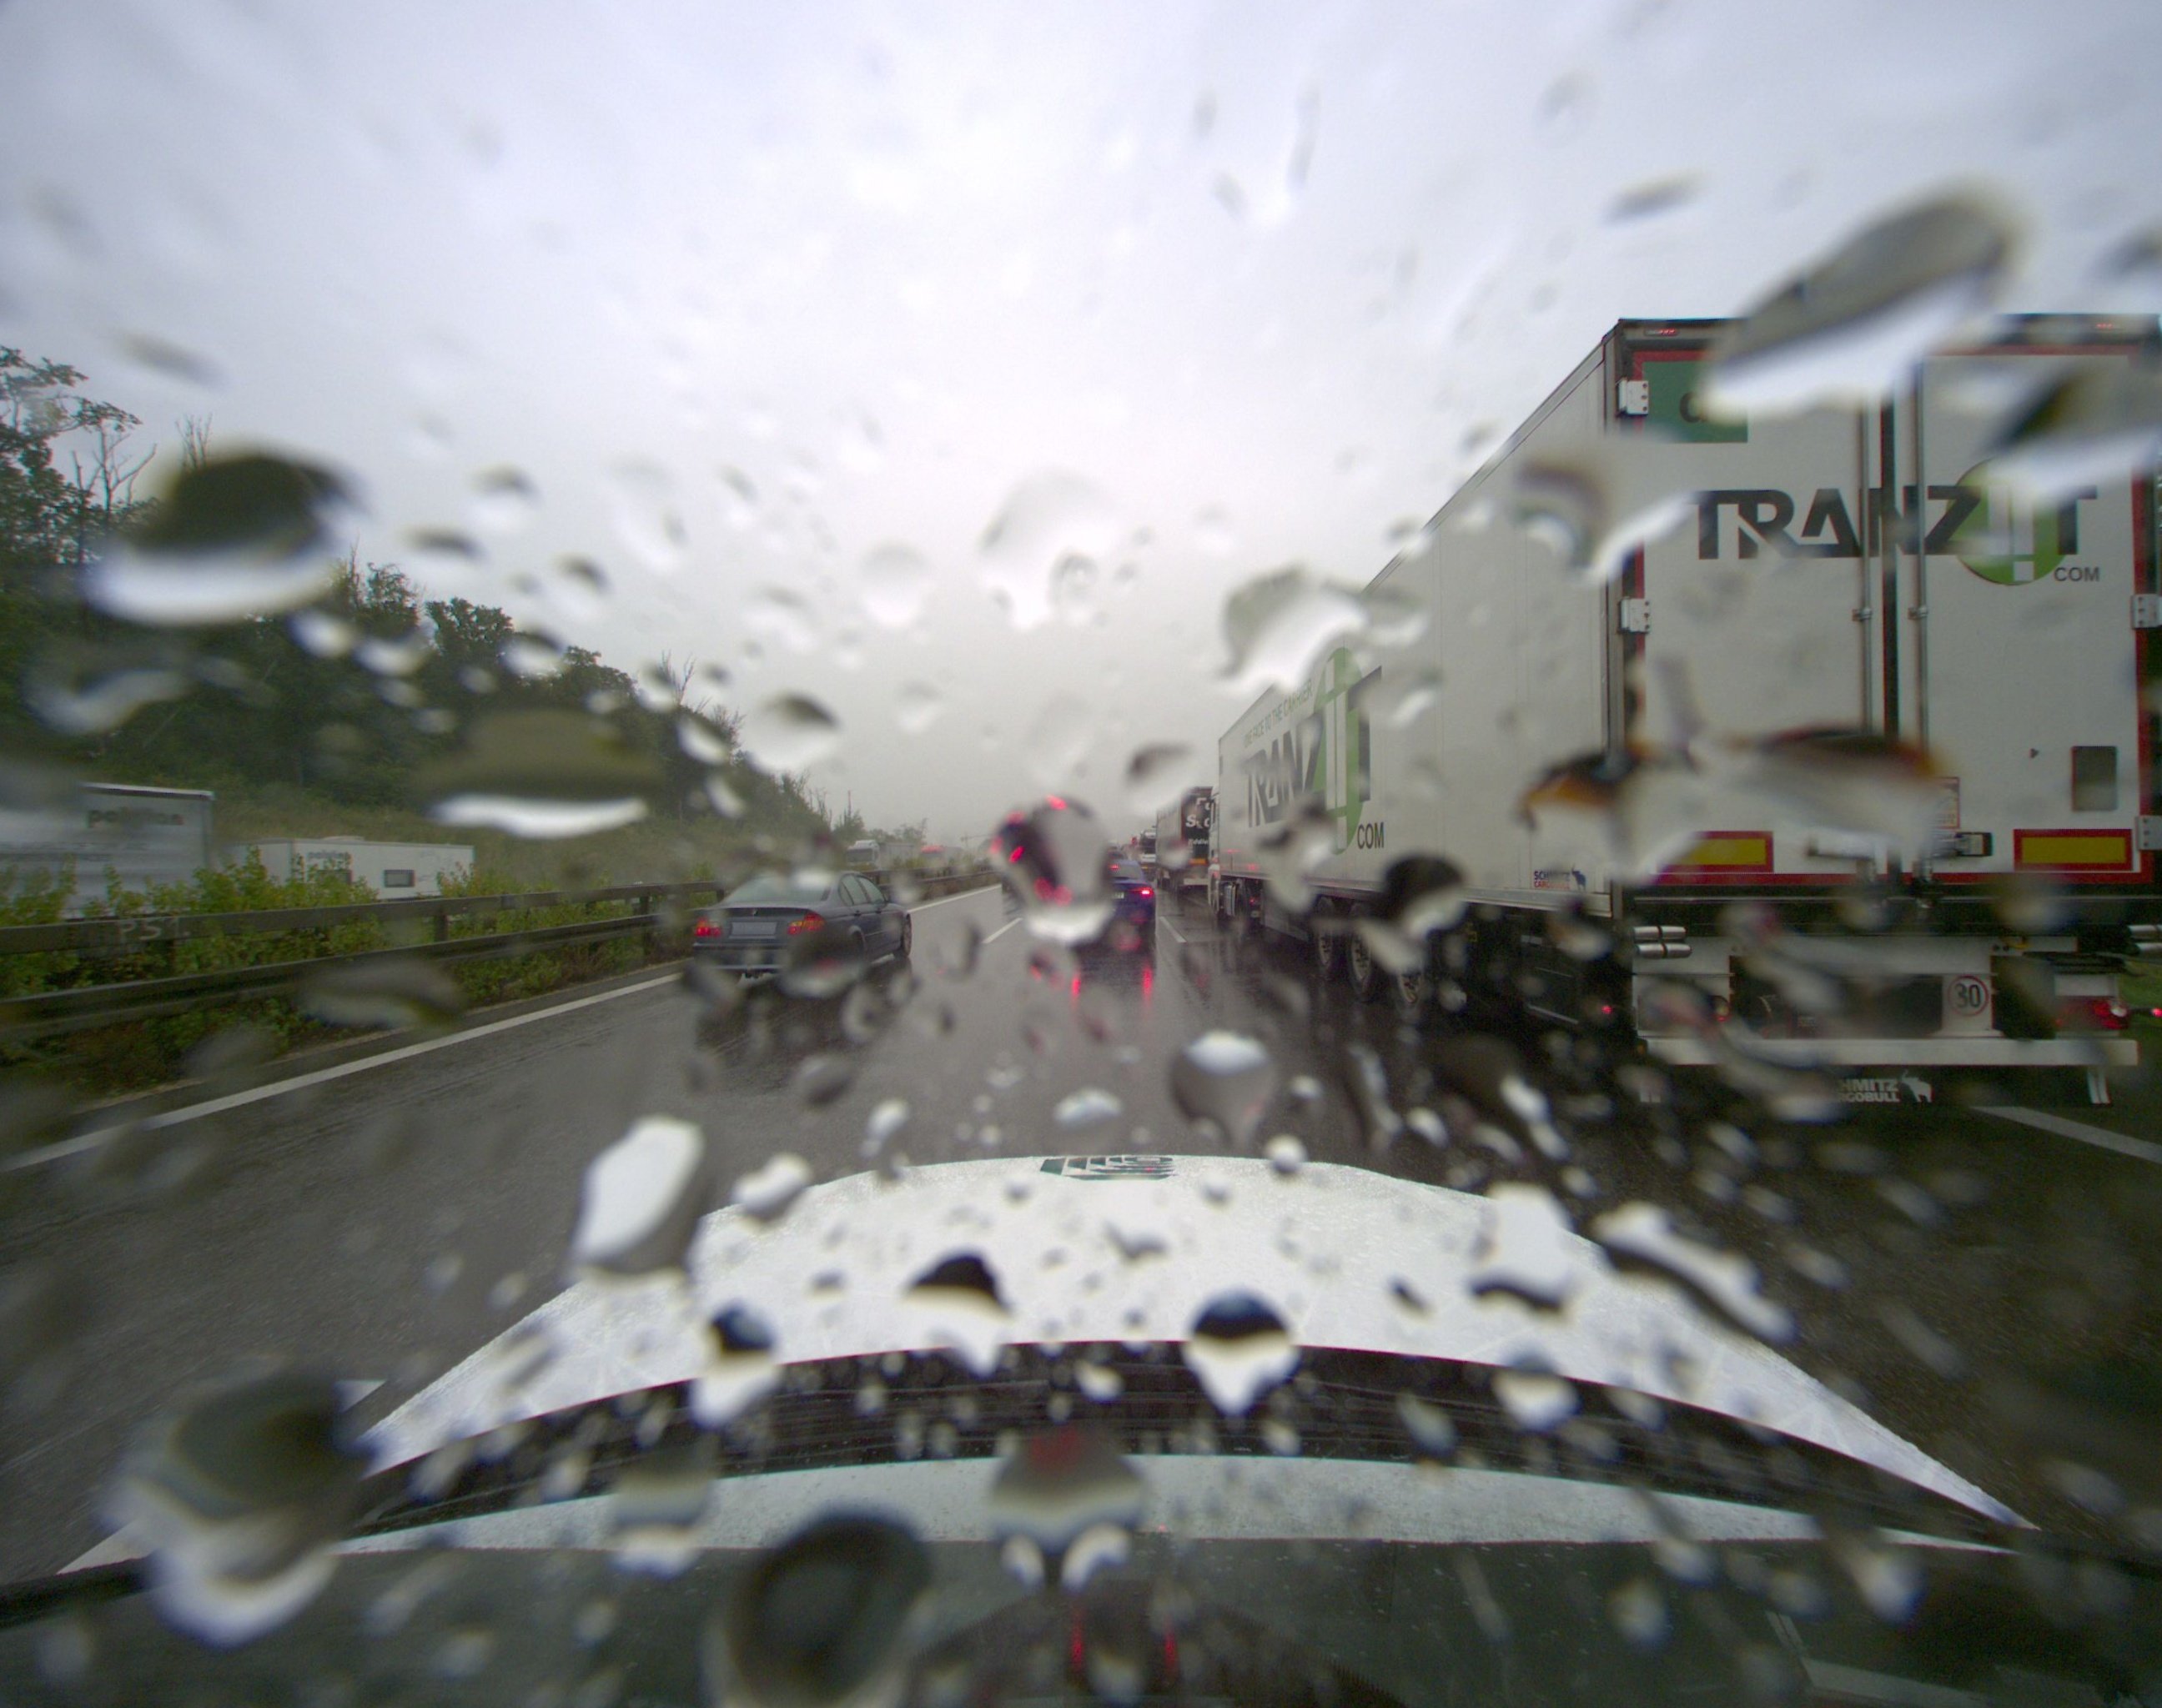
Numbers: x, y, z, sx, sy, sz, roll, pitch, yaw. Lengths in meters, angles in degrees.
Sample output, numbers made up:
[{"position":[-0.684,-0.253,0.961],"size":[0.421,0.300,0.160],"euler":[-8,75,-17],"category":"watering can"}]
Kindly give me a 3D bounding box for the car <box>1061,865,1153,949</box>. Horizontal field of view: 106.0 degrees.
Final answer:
[{"position":[0.566,0.981,16.696],"size":[1.629,1.445,4.003],"euler":[-1,0,3],"category":"car"}]

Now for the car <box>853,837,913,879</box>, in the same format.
[{"position":[-18.428,0.391,76.669],"size":[2.676,3.611,10.975],"euler":[-1,0,1],"category":"car"}]

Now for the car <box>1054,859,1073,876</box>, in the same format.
[{"position":[-1.569,1.211,73.925],"size":[1.434,1.420,3.323],"euler":[-1,0,2],"category":"car"}]

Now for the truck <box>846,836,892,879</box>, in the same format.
[{"position":[-18.468,0.280,71.185],"size":[2.677,3.611,4.606],"euler":[-1,0,1],"category":"truck"}]

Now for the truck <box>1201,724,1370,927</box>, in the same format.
[{"position":[4.258,-0.554,17.950],"size":[2.620,3.827,4.793],"euler":[-1,0,2],"category":"truck"}]

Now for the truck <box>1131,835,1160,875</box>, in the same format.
[{"position":[5.805,0.069,74.086],"size":[1.987,3.421,8.033],"euler":[-1,1,1],"category":"truck"}]

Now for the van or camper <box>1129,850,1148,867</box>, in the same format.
[{"position":[5.915,0.433,83.972],"size":[1.765,1.625,4.486],"euler":[-1,1,2],"category":"van or camper"}]

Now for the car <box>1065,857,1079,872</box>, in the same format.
[{"position":[-1.018,1.151,91.066],"size":[1.434,1.533,3.323],"euler":[-1,0,2],"category":"car"}]

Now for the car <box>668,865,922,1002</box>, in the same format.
[{"position":[-3.510,0.892,10.923],"size":[1.711,1.400,4.233],"euler":[-1,0,3],"category":"car"}]

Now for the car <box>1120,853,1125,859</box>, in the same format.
[{"position":[11.043,0.534,217.570],"size":[1.443,1.784,3.411],"euler":[-1,0,2],"category":"car"}]

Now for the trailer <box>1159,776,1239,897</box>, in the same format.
[{"position":[4.672,-0.636,34.259],"size":[2.039,4.176,11.453],"euler":[-1,0,2],"category":"trailer"}]

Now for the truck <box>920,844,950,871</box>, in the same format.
[{"position":[-17.647,0.431,98.819],"size":[2.676,3.151,4.607],"euler":[-1,0,2],"category":"truck"}]

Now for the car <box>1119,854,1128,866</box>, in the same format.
[{"position":[6.557,0.878,125.921],"size":[1.443,1.784,3.411],"euler":[-1,0,2],"category":"car"}]

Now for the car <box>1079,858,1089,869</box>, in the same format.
[{"position":[0.495,1.589,134.250],"size":[1.443,1.784,3.411],"euler":[-1,0,2],"category":"car"}]

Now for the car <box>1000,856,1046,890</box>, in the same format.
[{"position":[-2.723,0.875,39.208],"size":[1.714,1.523,4.003],"euler":[-1,0,3],"category":"car"}]

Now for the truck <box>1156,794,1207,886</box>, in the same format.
[{"position":[4.836,-0.650,39.691],"size":[2.039,4.193,4.002],"euler":[-1,0,2],"category":"truck"}]

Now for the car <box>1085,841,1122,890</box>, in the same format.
[{"position":[0.907,0.416,31.963],"size":[1.331,1.780,3.323],"euler":[-1,0,2],"category":"car"}]

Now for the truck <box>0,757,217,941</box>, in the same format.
[{"position":[-20.675,-0.054,13.389],"size":[2.915,3.281,9.256],"euler":[-1,1,1],"category":"truck"}]

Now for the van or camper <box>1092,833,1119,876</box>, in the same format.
[{"position":[1.702,0.037,56.136],"size":[1.790,2.806,4.770],"euler":[-1,0,2],"category":"van or camper"}]

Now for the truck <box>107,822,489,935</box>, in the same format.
[{"position":[-20.290,0.564,22.071],"size":[2.642,2.480,7.893],"euler":[-1,0,1],"category":"truck"}]

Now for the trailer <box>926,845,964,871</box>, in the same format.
[{"position":[-17.409,0.474,104.927],"size":[2.676,3.151,11.089],"euler":[-1,0,2],"category":"trailer"}]

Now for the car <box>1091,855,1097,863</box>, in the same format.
[{"position":[2.995,1.079,188.134],"size":[1.188,1.750,3.077],"euler":[-1,0,2],"category":"car"}]

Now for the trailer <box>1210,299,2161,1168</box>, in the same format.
[{"position":[4.021,-0.590,11.124],"size":[2.620,4.013,14.636],"euler":[-1,0,2],"category":"trailer"}]
